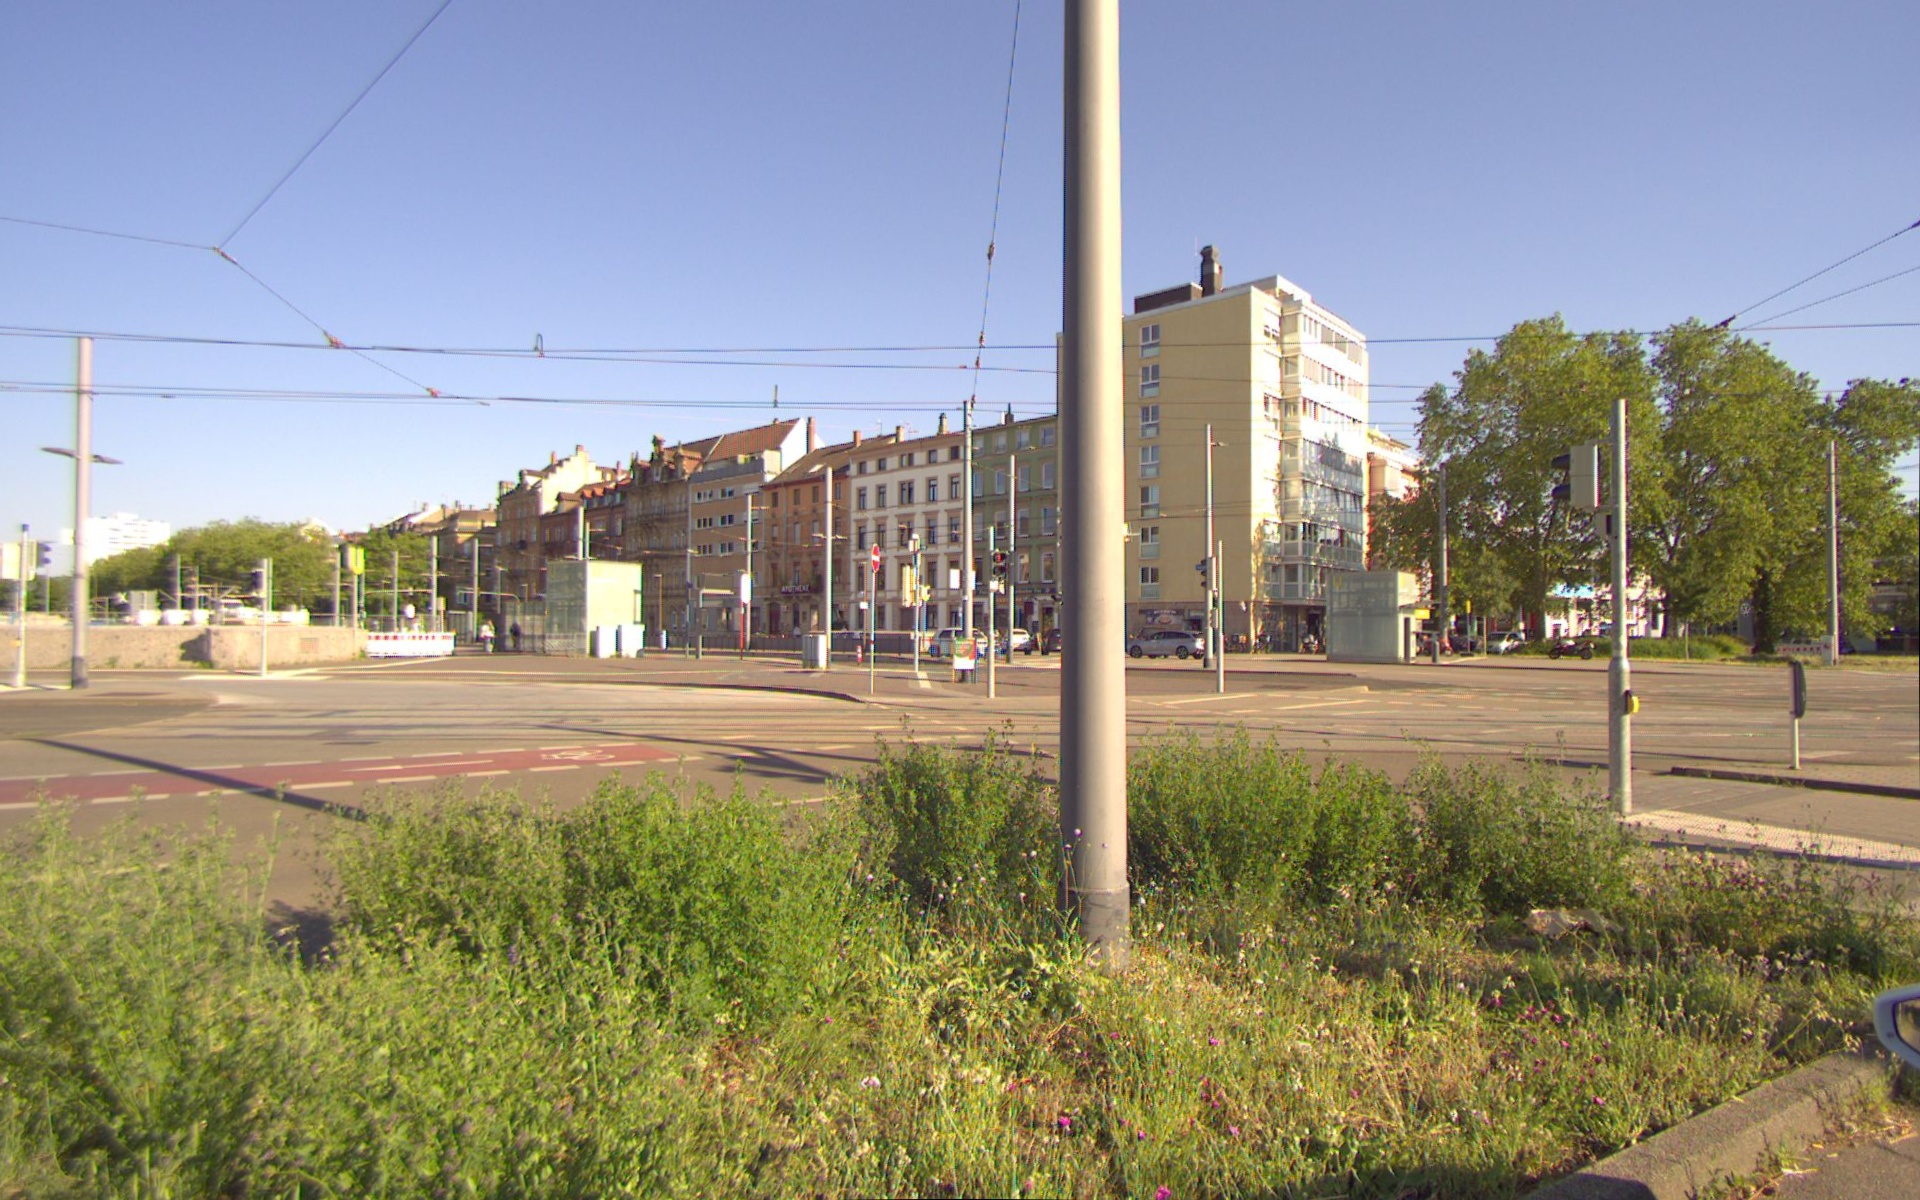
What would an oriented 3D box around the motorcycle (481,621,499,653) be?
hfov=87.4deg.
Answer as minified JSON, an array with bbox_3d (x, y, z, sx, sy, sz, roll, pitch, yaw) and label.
[{"bbox_3d":[-22.398,1.749,47.862,0.682,1.516,0.350,1,-1,-30],"label":"motorcycle"}]

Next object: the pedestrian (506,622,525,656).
[{"bbox_3d":[-22.169,1.916,50.047,0.721,1.671,0.788,1,-2,-34],"label":"pedestrian"}]

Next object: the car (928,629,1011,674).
[{"bbox_3d":[0.463,2.501,49.581,3.691,2.040,1.990,0,0,41],"label":"car"}]

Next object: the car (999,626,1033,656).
[{"bbox_3d":[3.555,2.606,64.399,2.045,1.742,4.010,-1,0,1],"label":"car"}]

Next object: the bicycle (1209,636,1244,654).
[{"bbox_3d":[16.763,2.799,63.225,2.019,1.104,0.773,-1,-2,42],"label":"bicycle"}]

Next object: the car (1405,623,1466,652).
[{"bbox_3d":[34.224,2.679,72.304,3.925,2.040,1.998,0,-2,26],"label":"car"}]

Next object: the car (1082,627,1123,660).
[{"bbox_3d":[8.409,2.550,59.736,1.803,1.771,3.999,-1,0,-1],"label":"car"}]

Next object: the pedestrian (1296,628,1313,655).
[{"bbox_3d":[21.664,2.606,63.091,0.767,1.698,0.778,-1,-2,43],"label":"pedestrian"}]

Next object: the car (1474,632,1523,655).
[{"bbox_3d":[35.449,2.847,66.104,1.827,1.471,3.976,0,-2,44],"label":"car"}]

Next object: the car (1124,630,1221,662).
[{"bbox_3d":[10.854,2.301,51.402,4.489,1.537,1.945,-1,-2,39],"label":"car"}]

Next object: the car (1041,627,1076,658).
[{"bbox_3d":[6.033,2.585,61.887,1.803,1.742,4.000,-1,0,1],"label":"car"}]

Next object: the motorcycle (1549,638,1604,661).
[{"bbox_3d":[30.825,2.469,50.255,0.682,1.068,2.263,-1,0,-42],"label":"motorcycle"}]

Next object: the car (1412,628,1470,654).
[{"bbox_3d":[36.464,3.092,76.167,3.925,1.882,1.851,0,0,26],"label":"car"}]

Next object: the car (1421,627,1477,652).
[{"bbox_3d":[38.889,3.104,79.994,3.925,1.882,1.851,0,0,26],"label":"car"}]

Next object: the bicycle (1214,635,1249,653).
[{"bbox_3d":[17.275,2.794,63.900,2.019,1.104,0.773,-1,-2,42],"label":"bicycle"}]

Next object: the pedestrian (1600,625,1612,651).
[{"bbox_3d":[52.267,3.081,81.278,0.702,2.040,0.586,1,-1,-30],"label":"pedestrian"}]

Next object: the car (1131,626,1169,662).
[{"bbox_3d":[10.893,2.519,57.886,1.815,1.882,4.002,-1,0,6],"label":"car"}]

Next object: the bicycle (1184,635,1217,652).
[{"bbox_3d":[15.646,2.808,65.371,2.019,1.104,0.773,-1,-2,42],"label":"bicycle"}]
